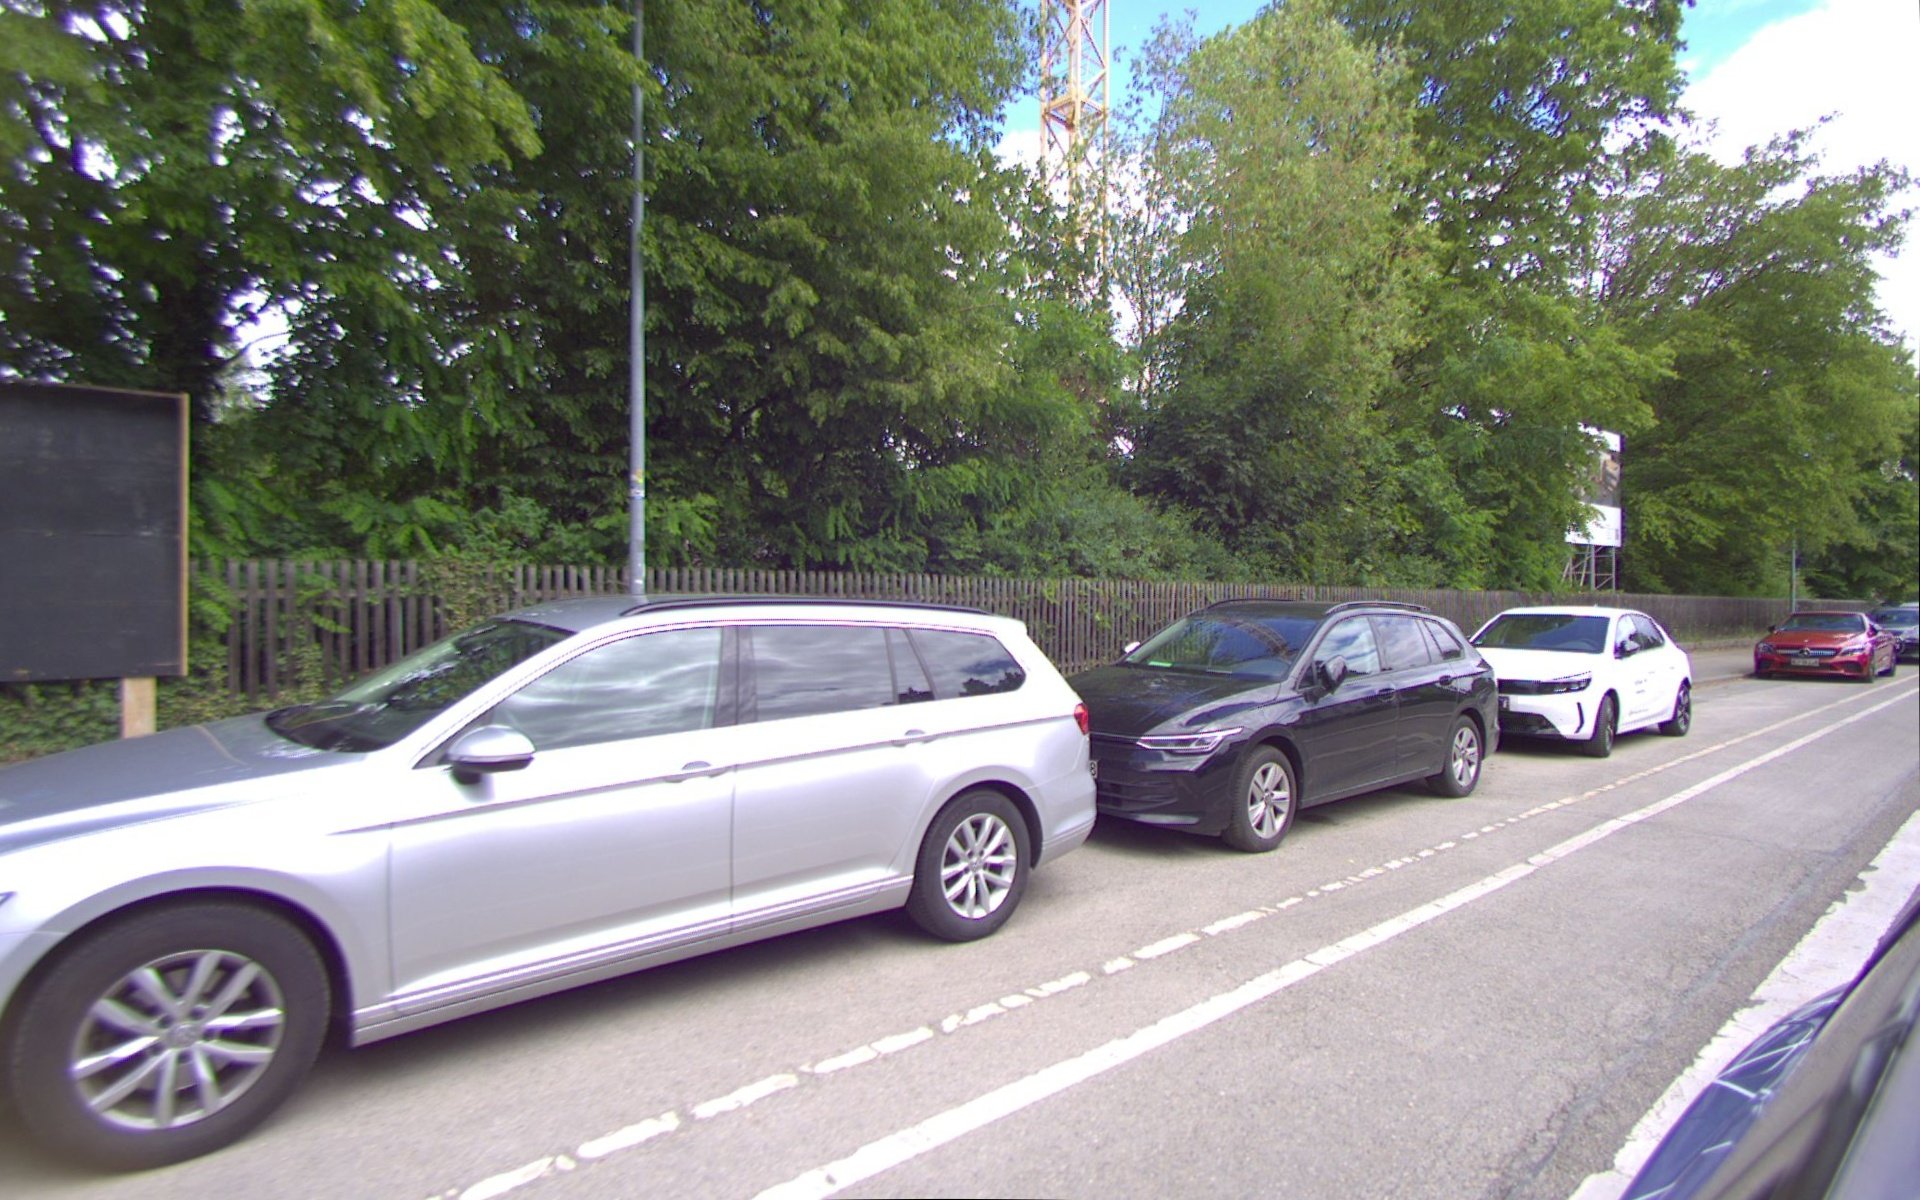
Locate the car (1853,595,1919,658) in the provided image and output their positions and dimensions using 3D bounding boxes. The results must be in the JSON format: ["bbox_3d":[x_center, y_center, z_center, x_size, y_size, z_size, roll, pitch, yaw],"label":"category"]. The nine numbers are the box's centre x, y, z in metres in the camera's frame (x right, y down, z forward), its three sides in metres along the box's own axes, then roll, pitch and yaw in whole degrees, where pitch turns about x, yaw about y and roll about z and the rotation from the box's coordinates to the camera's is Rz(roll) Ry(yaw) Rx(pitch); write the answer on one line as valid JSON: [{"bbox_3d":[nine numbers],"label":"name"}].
[{"bbox_3d":[25.331,0.643,26.853,4.598,1.534,1.819,-1,0,-41],"label":"car"}]

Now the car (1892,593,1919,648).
[{"bbox_3d":[29.819,0.591,30.703,4.345,1.610,1.865,0,0,-42],"label":"car"}]

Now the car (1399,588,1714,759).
[{"bbox_3d":[6.658,0.646,11.144,3.959,1.529,1.771,-1,1,-40],"label":"car"}]

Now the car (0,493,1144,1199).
[{"bbox_3d":[-1.431,0.553,4.223,4.605,1.631,1.864,-1,0,-41],"label":"car"}]

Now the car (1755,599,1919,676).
[{"bbox_3d":[18.254,0.728,20.995,4.363,1.432,1.862,1,-2,-40],"label":"car"}]

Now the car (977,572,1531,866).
[{"bbox_3d":[2.349,0.634,7.374,4.456,1.529,1.705,0,-1,-40],"label":"car"}]
